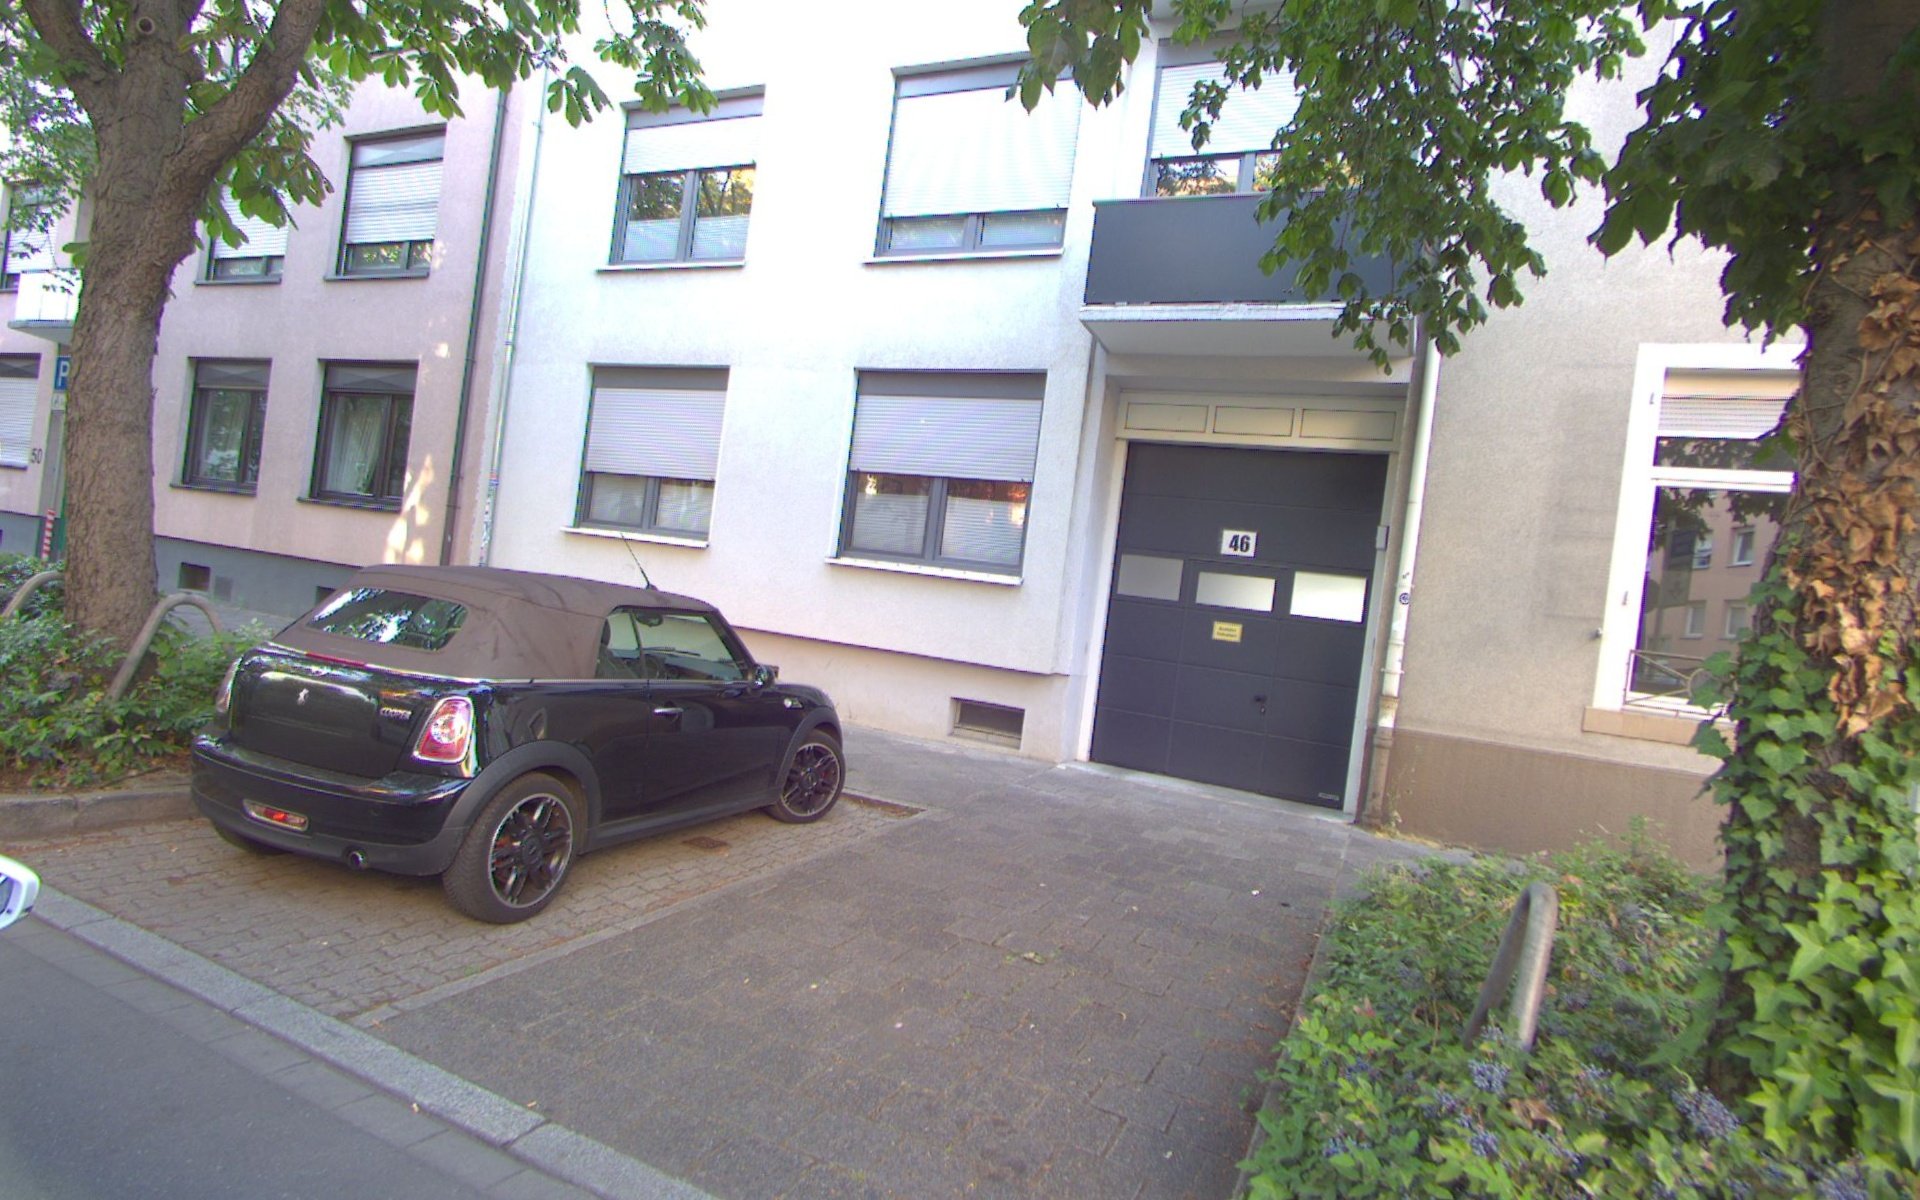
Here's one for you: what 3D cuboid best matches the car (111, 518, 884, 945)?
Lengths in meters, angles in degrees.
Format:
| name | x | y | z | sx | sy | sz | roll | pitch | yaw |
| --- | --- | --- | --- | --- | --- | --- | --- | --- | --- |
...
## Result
| name | x | y | z | sx | sy | sz | roll | pitch | yaw |
| --- | --- | --- | --- | --- | --- | --- | --- | --- | --- |
| car | -2.021 | 0.552 | 5.533 | 1.634 | 1.380 | 3.622 | 7 | -1 | 22 |

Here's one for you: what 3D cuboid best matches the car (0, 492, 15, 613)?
| name | x | y | z | sx | sy | sz | roll | pitch | yaw |
| --- | --- | --- | --- | --- | --- | --- | --- | --- | --- |
| car | -13.349 | -0.802 | 11.049 | 1.634 | 1.494 | 3.921 | 7 | -1 | 24 |
